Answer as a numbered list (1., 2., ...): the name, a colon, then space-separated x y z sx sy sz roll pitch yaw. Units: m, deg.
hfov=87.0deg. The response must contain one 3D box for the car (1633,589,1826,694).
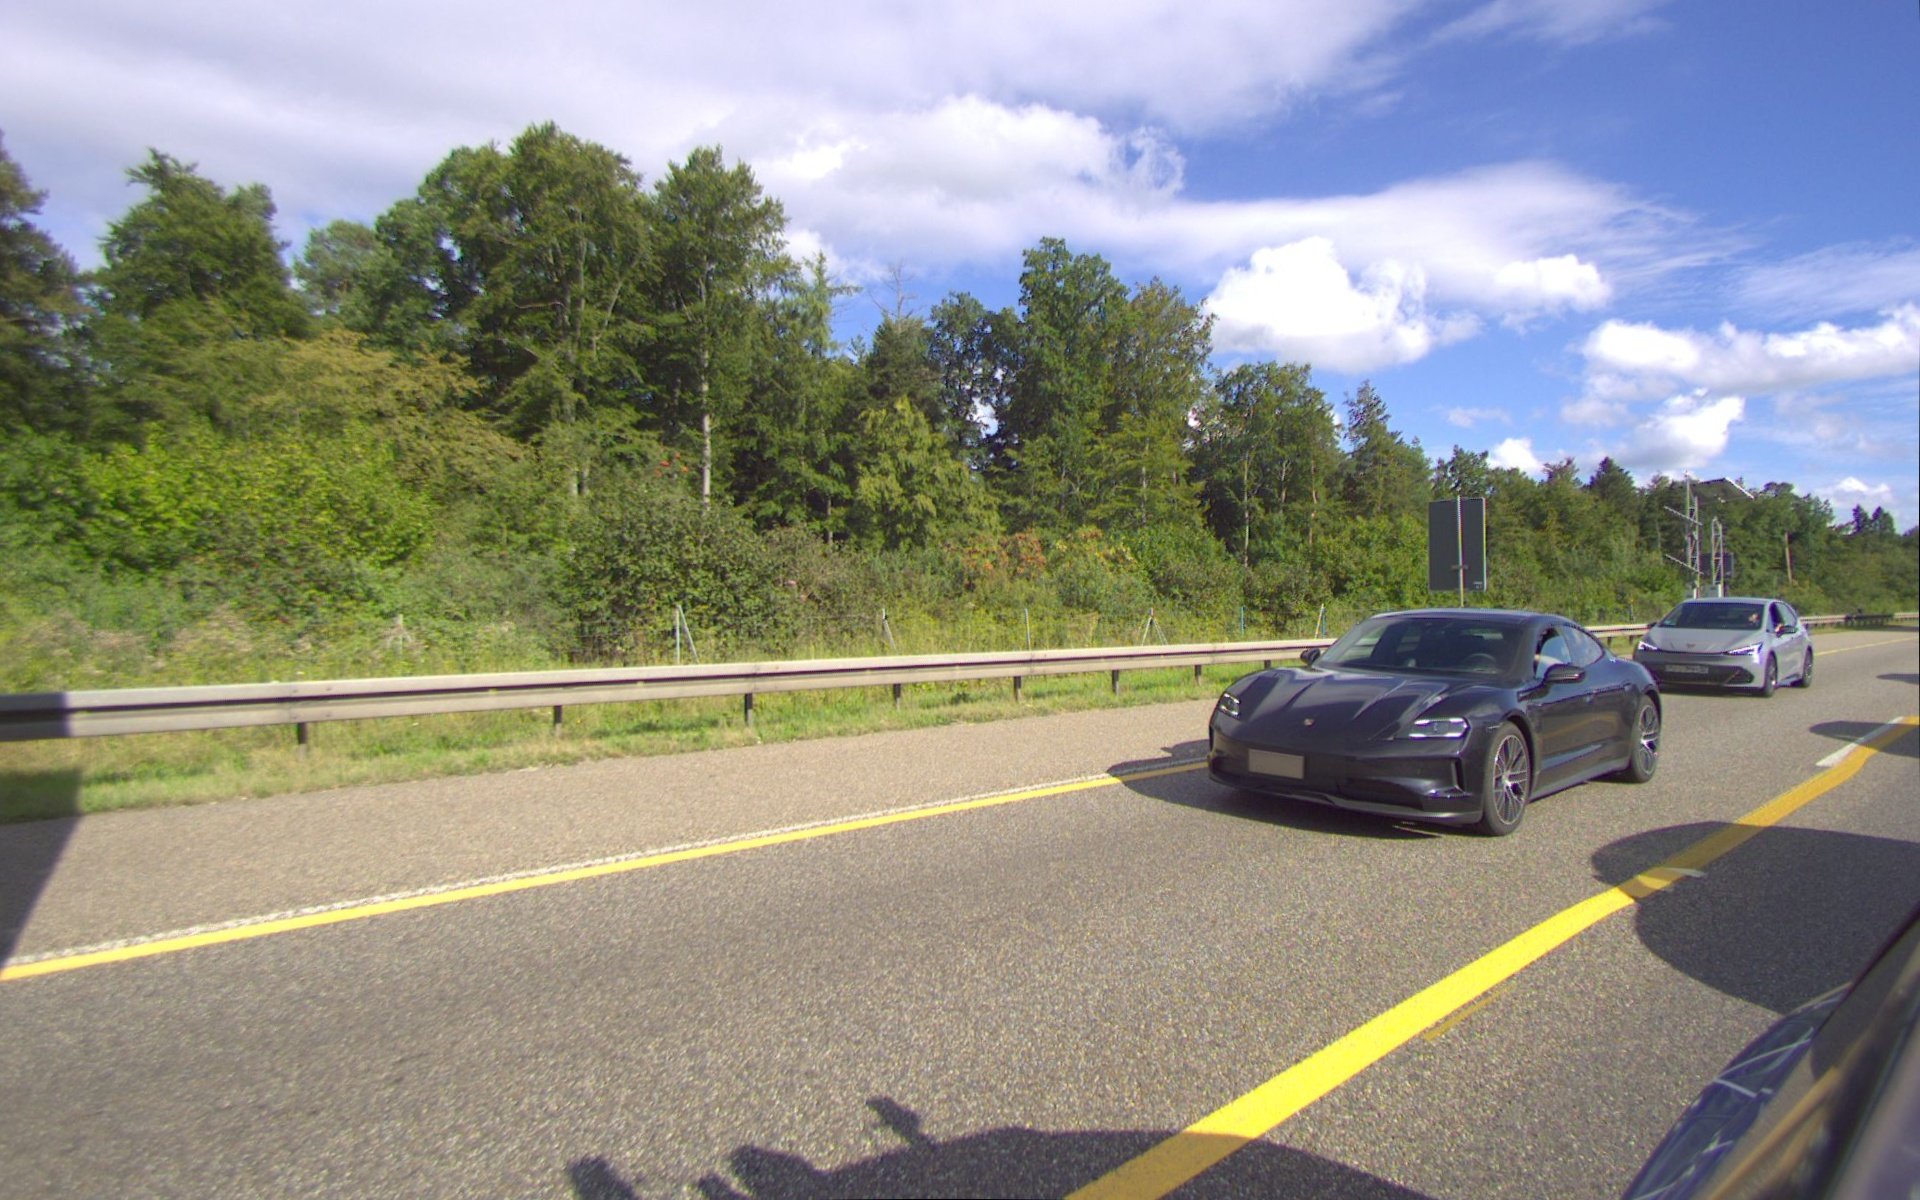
1. car: 12.757 0.589 16.701 3.898 1.498 1.761 -1 1 -41

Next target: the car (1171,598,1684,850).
1. car: 3.756 0.678 7.755 4.399 1.367 1.932 0 0 -41
